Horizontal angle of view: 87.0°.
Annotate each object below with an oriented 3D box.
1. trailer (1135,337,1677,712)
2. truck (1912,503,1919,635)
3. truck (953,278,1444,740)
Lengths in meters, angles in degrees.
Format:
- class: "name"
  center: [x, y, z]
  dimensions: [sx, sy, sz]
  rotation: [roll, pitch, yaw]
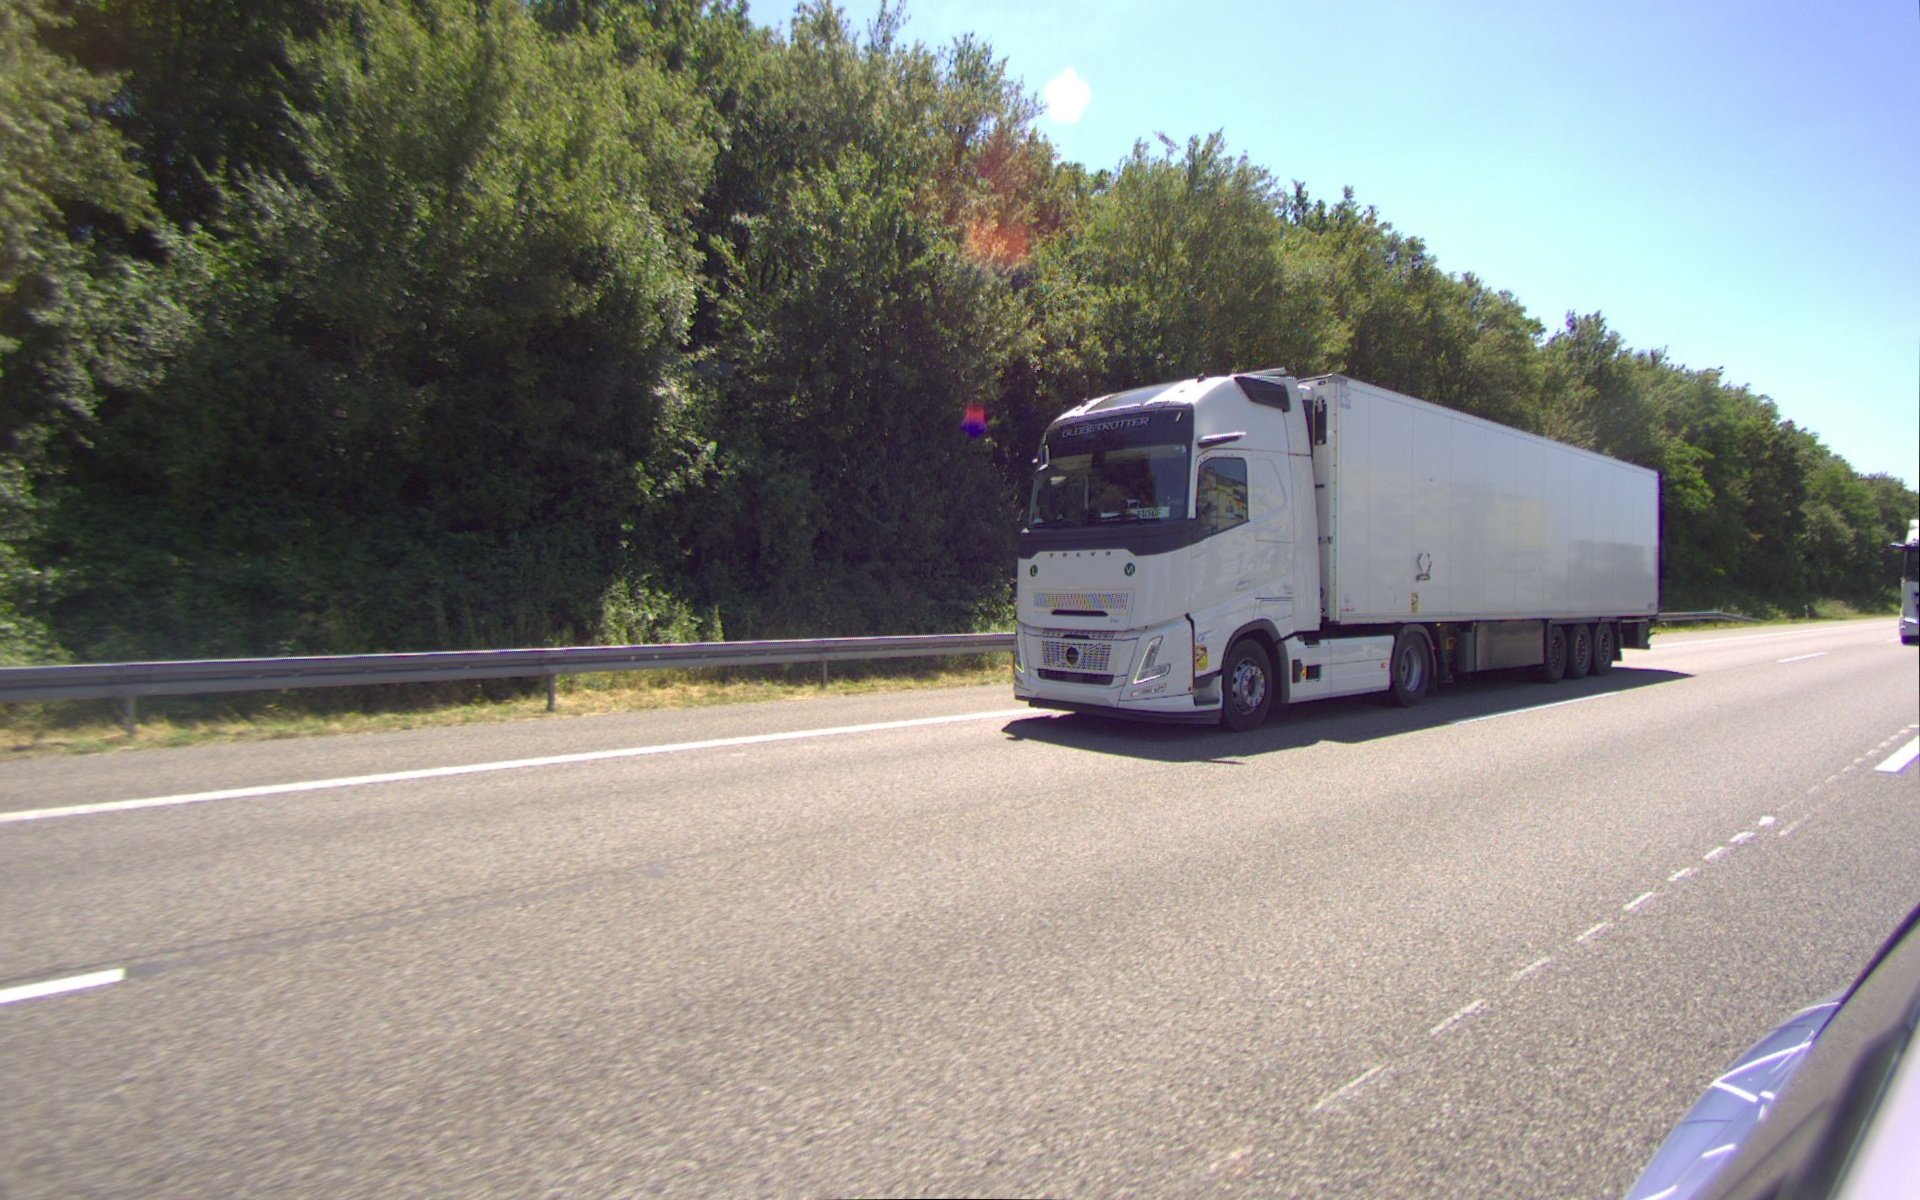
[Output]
- class: "trailer"
  center: [8.480, -0.914, 17.210]
  dimensions: [13.595, 4.277, 3.044]
  rotation: [0, 1, -42]
- class: "truck"
  center: [32.927, -0.984, 32.669]
  dimensions: [5.944, 4.121, 2.682]
  rotation: [0, 0, -42]
- class: "truck"
  center: [3.138, -0.876, 12.485]
  dimensions: [5.944, 4.268, 3.052]
  rotation: [0, 0, -41]
